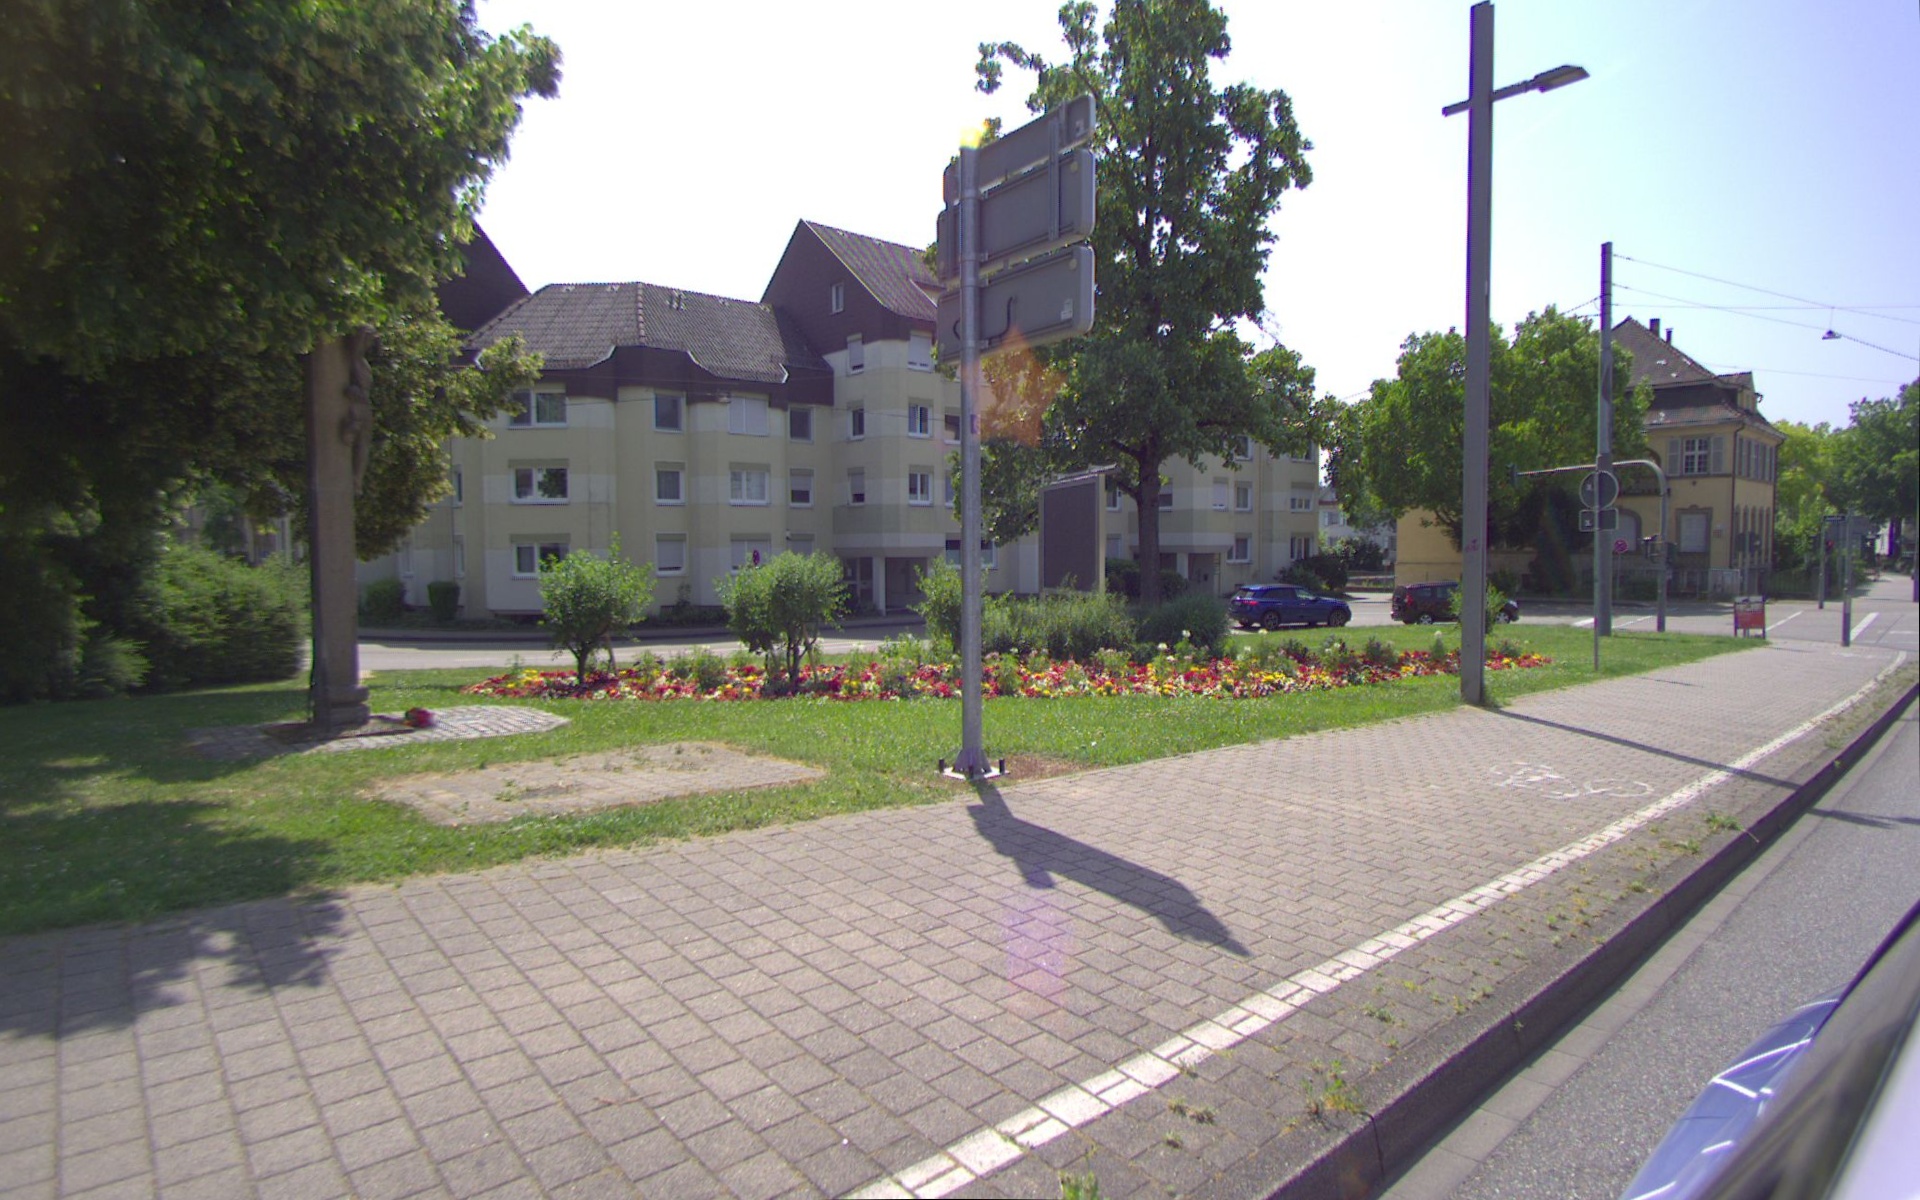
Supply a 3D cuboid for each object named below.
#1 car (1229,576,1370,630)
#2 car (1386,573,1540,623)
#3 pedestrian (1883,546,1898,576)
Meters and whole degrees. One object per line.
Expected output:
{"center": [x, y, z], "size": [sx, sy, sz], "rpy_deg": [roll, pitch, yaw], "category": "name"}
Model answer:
{"center": [12.795, 0.068, 38.209], "size": [4.669, 1.721, 2.005], "rpy_deg": [-2, 4, -14], "category": "car"}
{"center": [18.748, -0.100, 37.877], "size": [4.732, 1.651, 1.917], "rpy_deg": [-1, 3, 5], "category": "car"}
{"center": [60.512, -2.561, 65.801], "size": [0.732, 1.941, 0.620], "rpy_deg": [-3, 4, -45], "category": "pedestrian"}
